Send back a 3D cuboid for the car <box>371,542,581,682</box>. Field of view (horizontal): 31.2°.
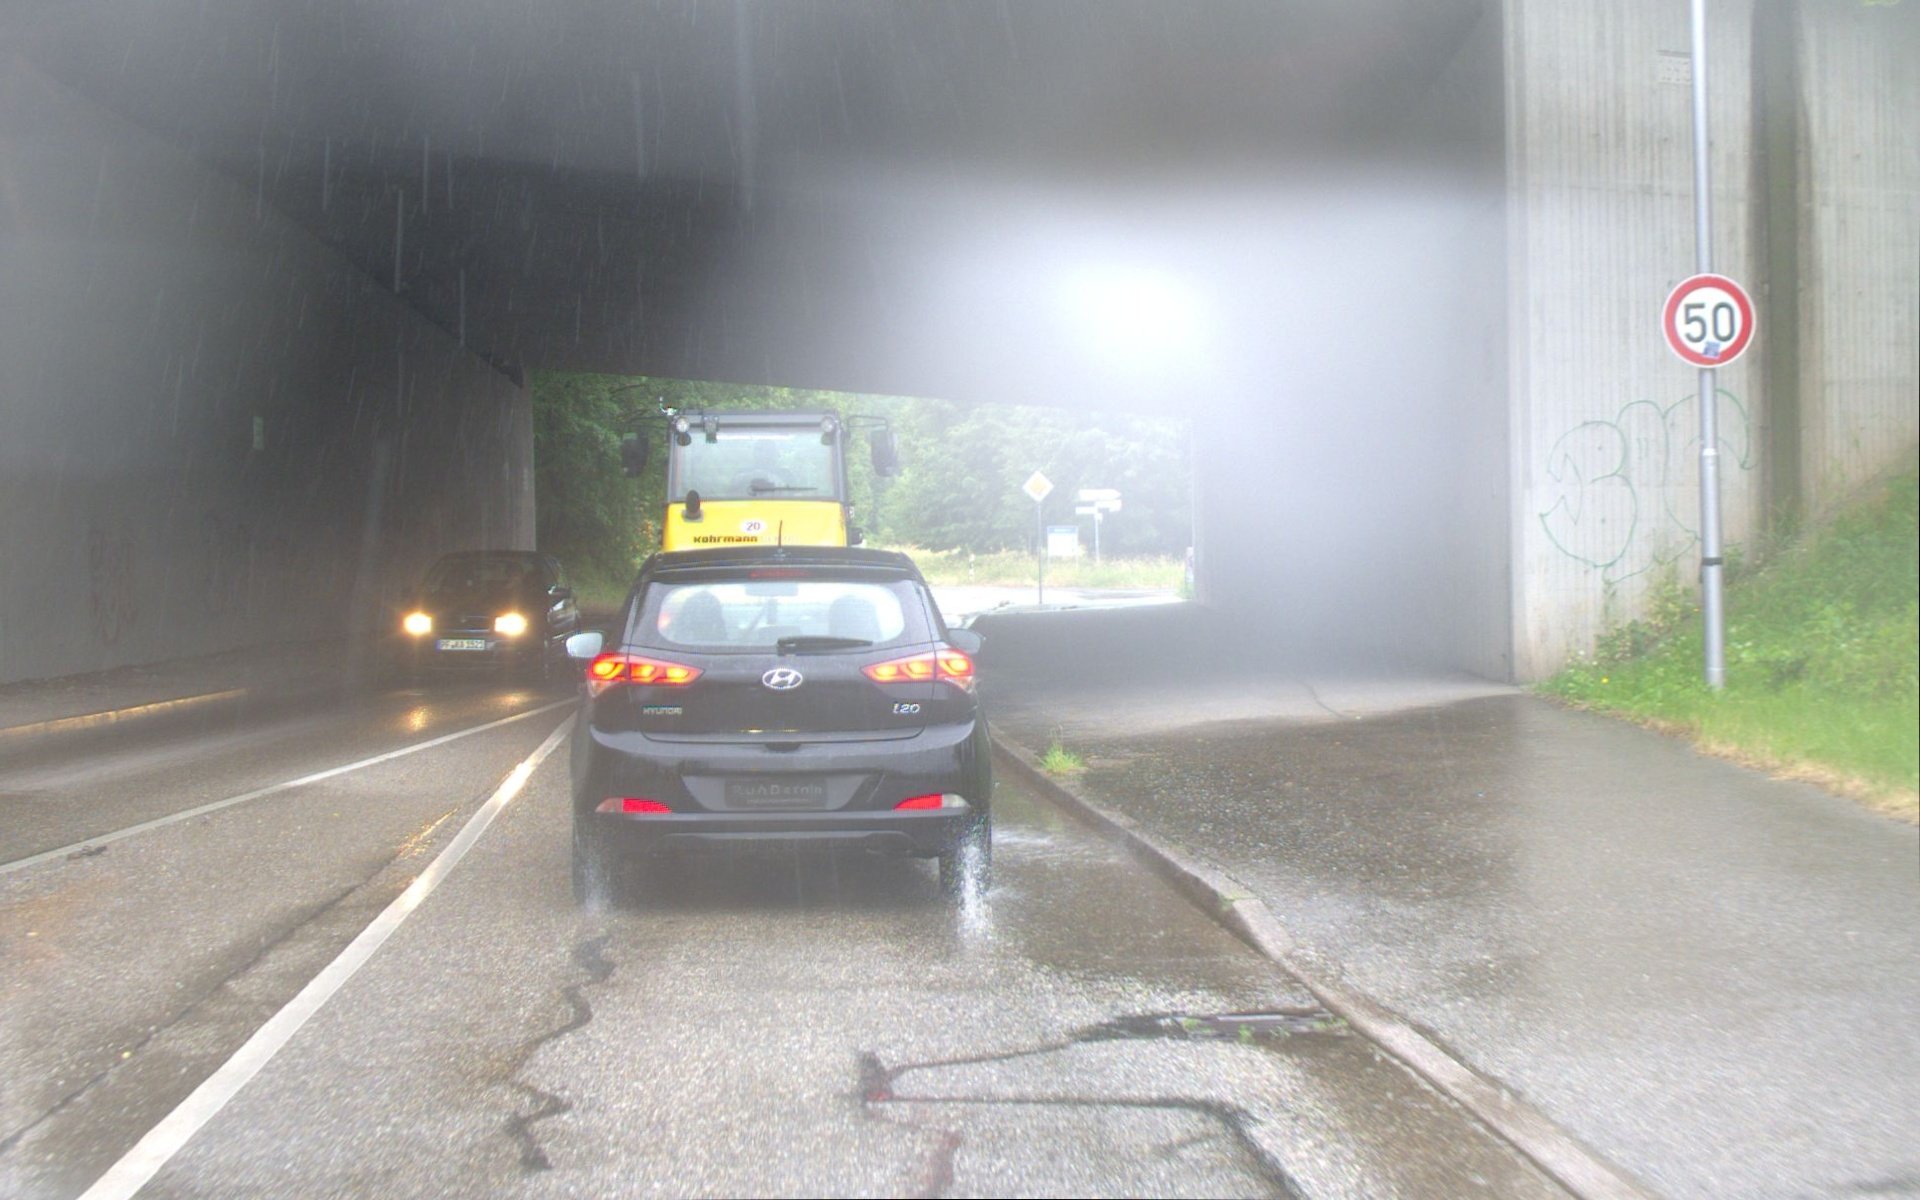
[{"bbox_3d":[-5.342,0.089,38.395,1.690,1.482,4.073,0,1,1],"label":"car"}]

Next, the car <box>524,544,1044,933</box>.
[{"bbox_3d":[-0.759,0.513,15.347,1.993,1.482,4.000,1,1,-2],"label":"car"}]

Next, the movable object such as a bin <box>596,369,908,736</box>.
[{"bbox_3d":[-1.655,-0.394,28.598,2.245,2.660,6.627,1,1,-2],"label":"movable object such as a bin"}]
